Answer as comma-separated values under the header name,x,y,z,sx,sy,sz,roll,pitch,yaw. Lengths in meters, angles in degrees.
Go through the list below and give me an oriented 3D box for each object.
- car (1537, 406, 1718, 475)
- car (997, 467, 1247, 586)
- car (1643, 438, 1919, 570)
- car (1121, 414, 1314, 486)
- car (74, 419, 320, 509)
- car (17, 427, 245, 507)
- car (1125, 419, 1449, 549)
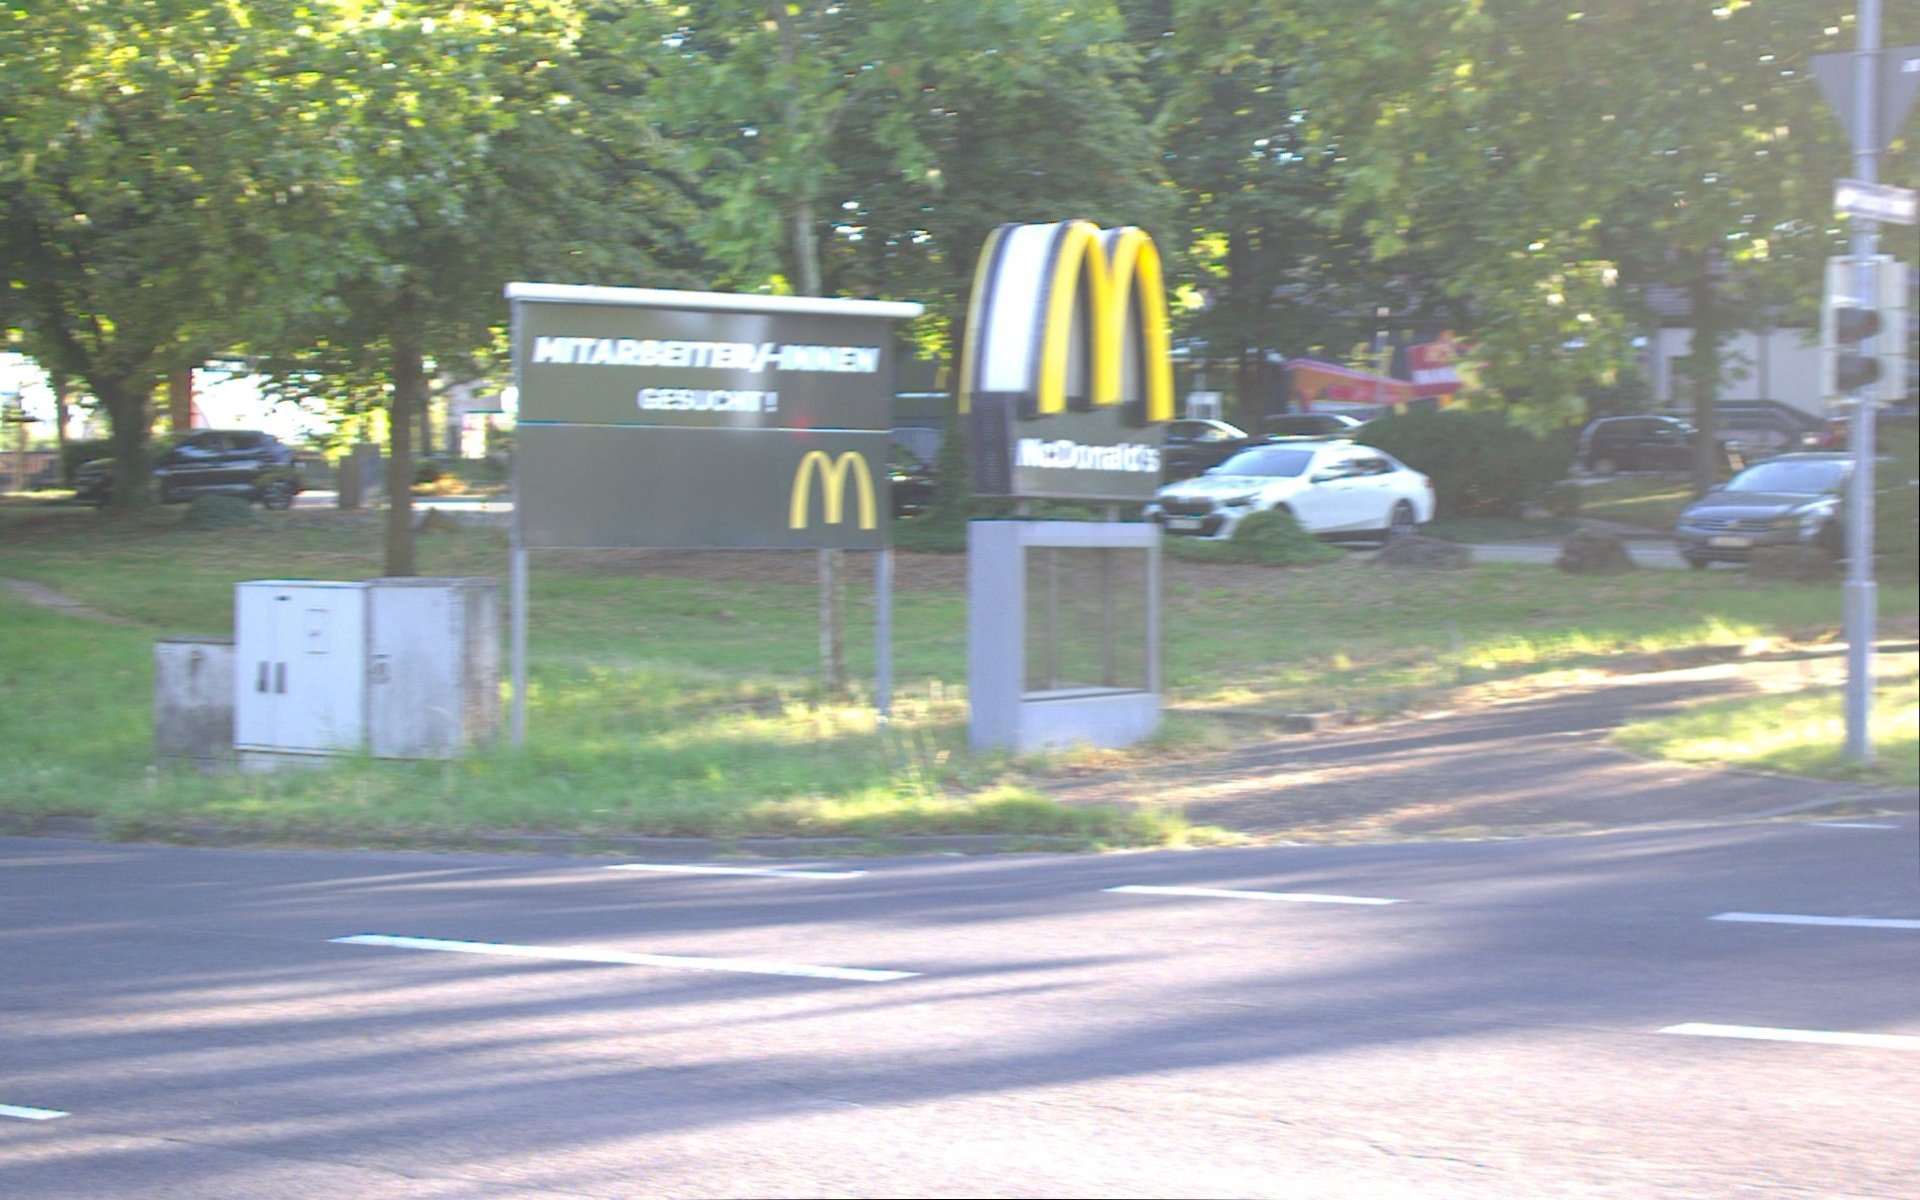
name,x,y,z,sx,sy,sz,roll,pitch,yaw
car,15.677,-3.731,80.741,3.990,1.546,1.806,0,2,17
car,2.452,-1.115,51.022,1.825,1.682,4.218,0,2,33
car,10.448,-1.222,43.064,2.041,1.568,4.393,1,2,36
car,5.797,-3.349,77.255,3.990,1.546,1.806,0,2,19
car,-13.658,-2.439,61.690,1.806,1.546,3.990,1,2,42
car,-16.440,-2.636,68.220,3.988,1.546,1.807,-2,2,-39
car,4.590,-1.630,47.693,1.998,1.700,4.888,1,3,41
